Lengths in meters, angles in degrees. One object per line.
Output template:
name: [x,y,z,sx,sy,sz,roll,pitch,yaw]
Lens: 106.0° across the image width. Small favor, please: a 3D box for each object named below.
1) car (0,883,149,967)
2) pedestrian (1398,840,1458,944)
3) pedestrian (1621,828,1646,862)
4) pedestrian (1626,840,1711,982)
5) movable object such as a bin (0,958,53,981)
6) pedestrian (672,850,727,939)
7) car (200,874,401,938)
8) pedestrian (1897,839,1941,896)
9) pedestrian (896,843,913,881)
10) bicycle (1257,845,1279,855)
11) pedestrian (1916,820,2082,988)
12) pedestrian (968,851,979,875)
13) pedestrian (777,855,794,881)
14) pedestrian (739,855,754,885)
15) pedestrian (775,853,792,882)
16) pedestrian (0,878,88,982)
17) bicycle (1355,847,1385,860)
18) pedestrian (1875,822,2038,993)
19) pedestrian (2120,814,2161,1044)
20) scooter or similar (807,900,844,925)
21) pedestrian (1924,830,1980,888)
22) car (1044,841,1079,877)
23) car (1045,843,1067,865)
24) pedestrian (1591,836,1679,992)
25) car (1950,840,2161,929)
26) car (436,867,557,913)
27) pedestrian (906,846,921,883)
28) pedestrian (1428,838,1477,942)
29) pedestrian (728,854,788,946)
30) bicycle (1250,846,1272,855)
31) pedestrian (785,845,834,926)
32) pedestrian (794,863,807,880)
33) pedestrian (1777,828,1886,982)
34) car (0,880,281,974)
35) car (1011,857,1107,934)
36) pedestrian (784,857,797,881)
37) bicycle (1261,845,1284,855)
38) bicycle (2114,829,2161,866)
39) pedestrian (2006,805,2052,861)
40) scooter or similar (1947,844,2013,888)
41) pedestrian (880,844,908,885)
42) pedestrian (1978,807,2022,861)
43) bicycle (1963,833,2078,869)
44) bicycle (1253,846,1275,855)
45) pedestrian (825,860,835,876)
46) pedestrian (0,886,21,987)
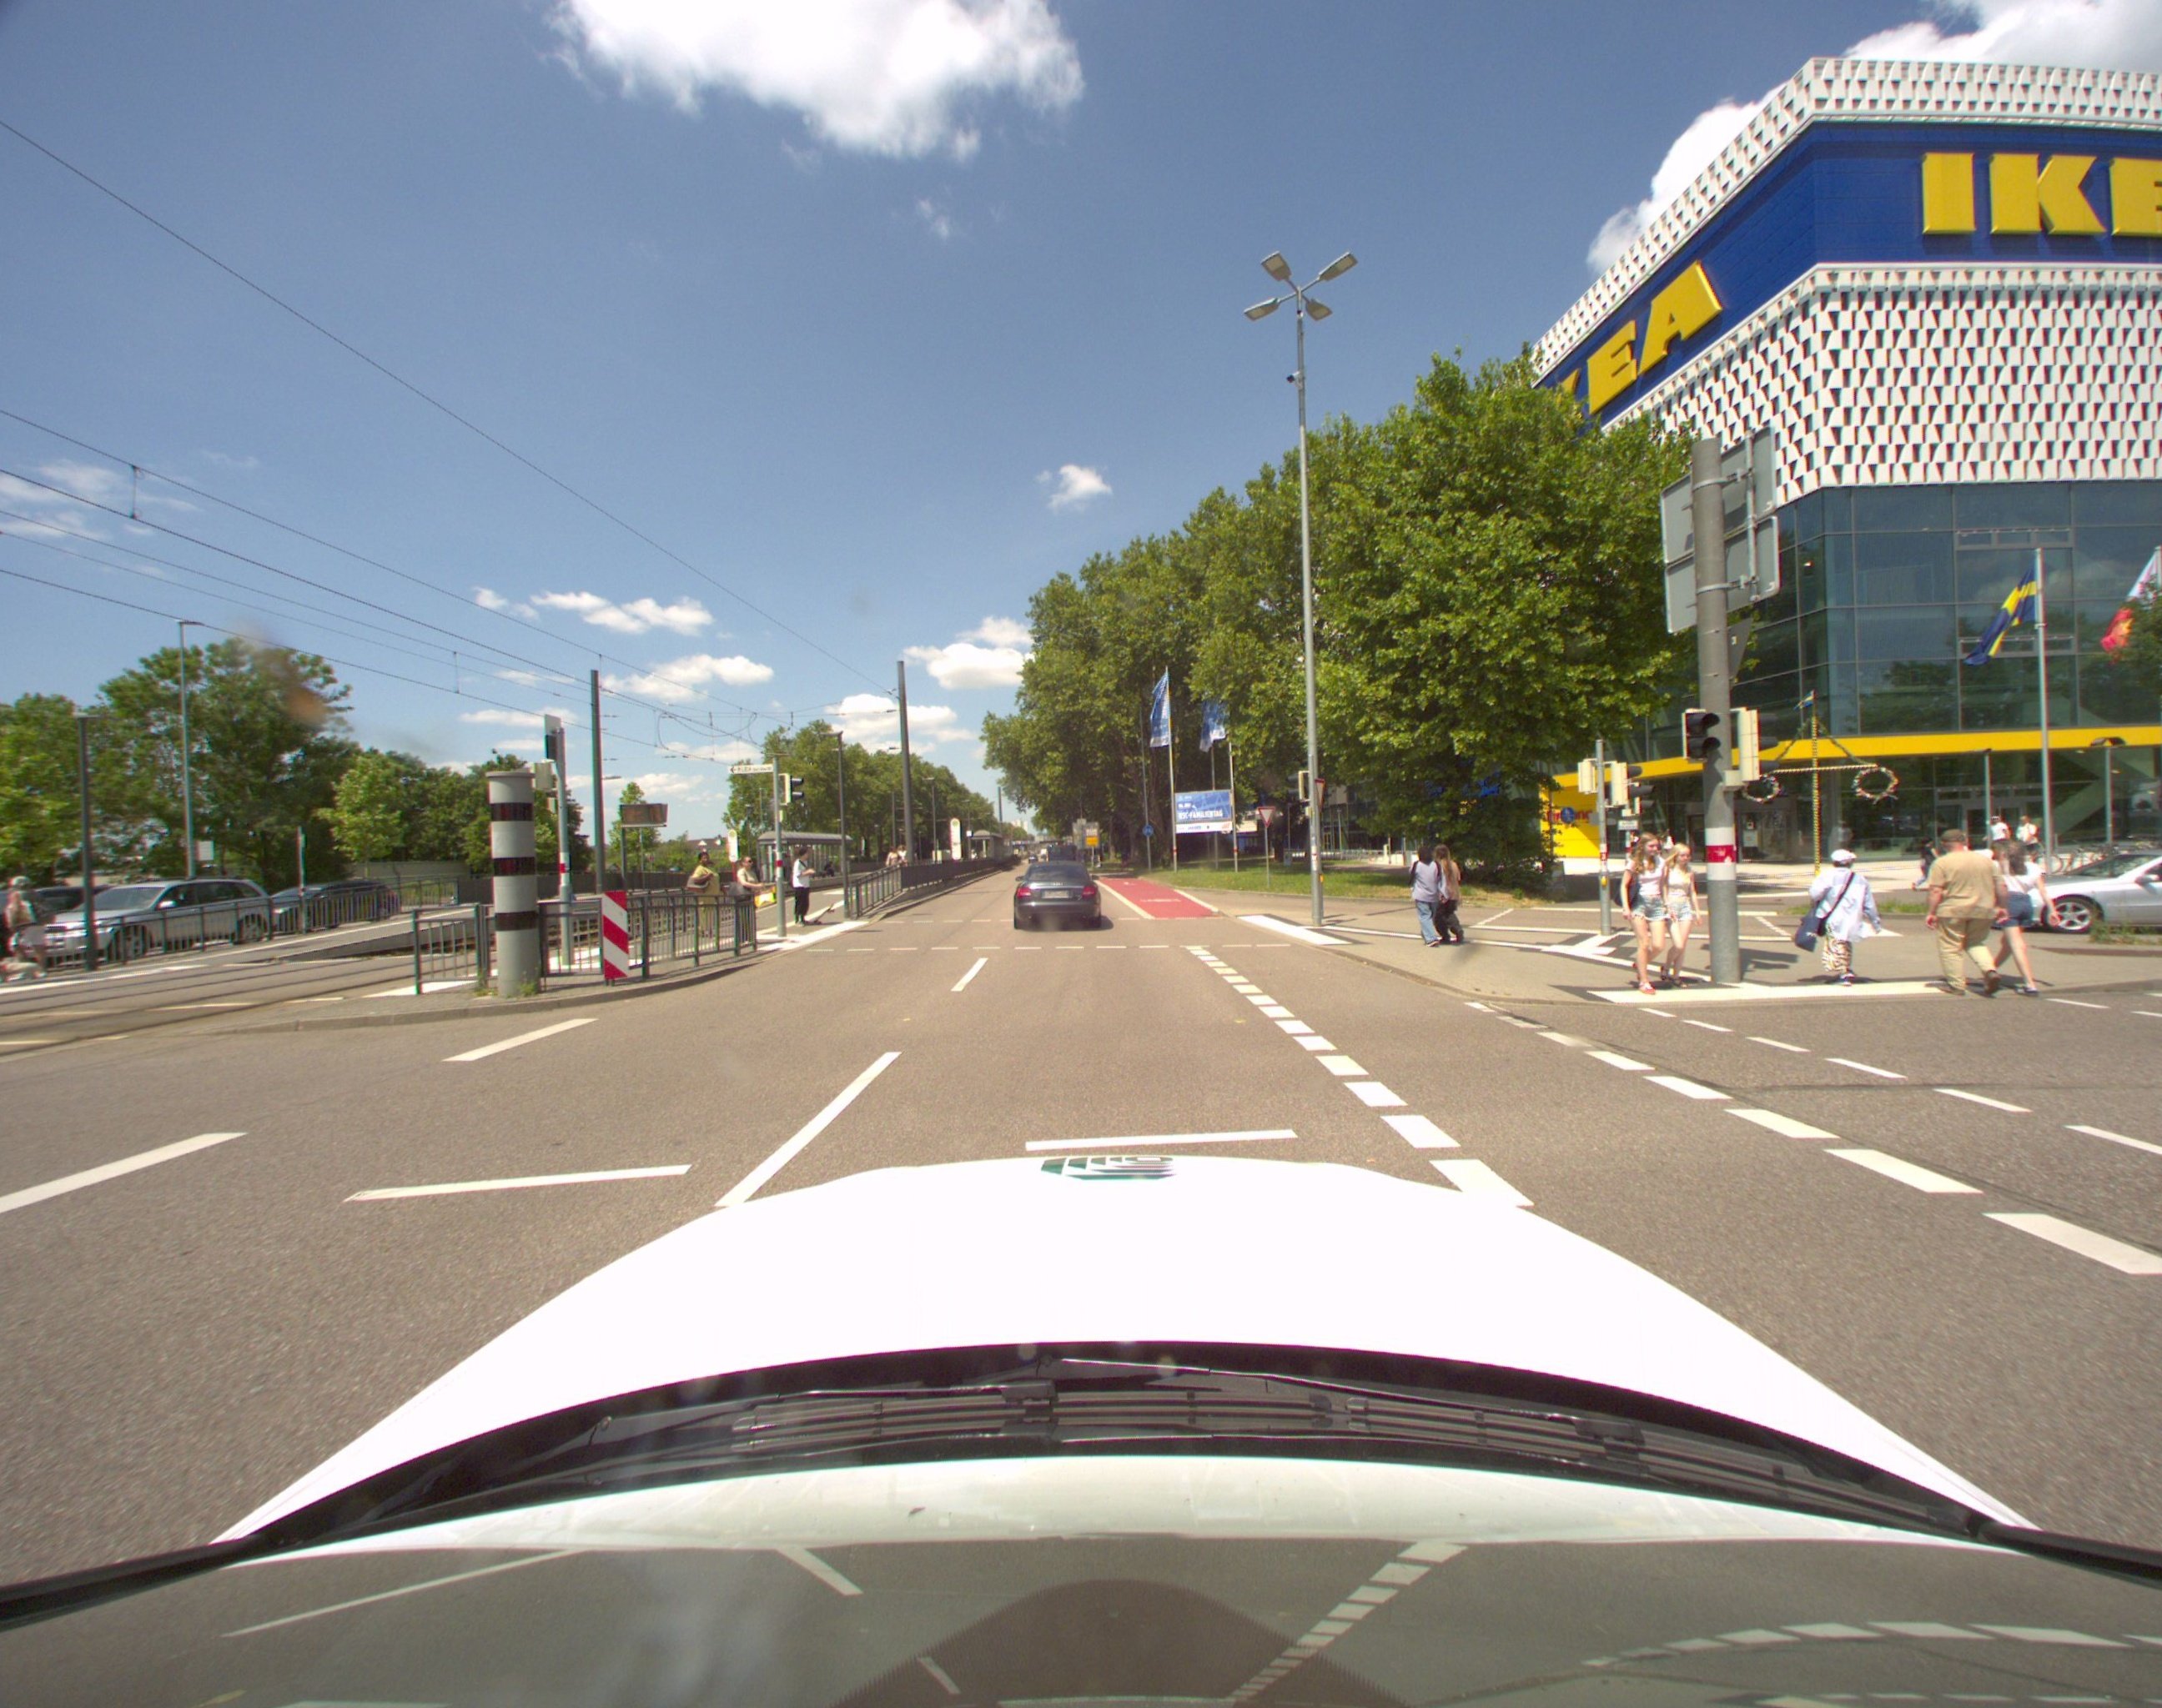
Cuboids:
car: [-23.277,1.536,17.445,1.988,1.629,3.998,-2,0,-1]
pedestrian: [5.545,0.588,13.060,0.759,1.606,0.900,-1,0,16]
pedestrian: [28.309,-0.450,41.752,0.776,1.735,0.743,-2,0,10]
pedestrian: [6.783,0.639,9.430,0.525,1.580,0.612,-1,0,2]
movable object such as a bin: [-17.435,1.902,13.452,0.570,0.321,0.228,-2,0,-6]
pedestrian: [-7.324,0.762,15.672,0.731,1.673,0.677,-1,0,-5]
car: [-23.526,1.498,24.827,1.988,1.629,4.279,-2,0,-1]
pedestrian: [24.038,0.380,23.366,0.609,1.586,0.632,-2,0,-7]
pedestrian: [-8.001,0.374,36.863,0.612,1.681,0.719,-1,0,-4]
bicycle: [23.031,-0.468,100.222,2.543,1.110,0.757,-2,0,-7]
pedestrian: [9.578,0.499,8.540,0.789,1.659,0.855,-1,0,15]
pedestrian: [-7.577,0.637,57.436,0.731,1.665,0.741,-1,0,-3]
pedestrian: [-18.599,0.880,51.281,0.817,1.638,0.582,-2,0,35]
pedestrian: [-18.284,0.861,44.494,0.557,1.638,0.804,-2,0,-9]
pedestrian: [-18.189,0.818,49.823,0.729,1.729,0.582,-2,0,35]
pedestrian: [-17.784,1.270,13.866,0.760,1.672,0.763,-2,0,-5]
bicycle: [22.715,-0.034,64.036,2.057,0.969,0.867,-2,0,-6]
pedestrian: [8.980,0.527,8.404,0.789,1.659,0.855,-1,0,15]
pedestrian: [7.905,0.525,5.528,0.601,1.638,0.867,-1,-2,15]
scooter or similar: [-5.921,1.353,18.916,0.725,0.506,0.456,-2,0,-5]
pedestrian: [24.353,0.129,22.769,0.917,1.586,0.632,-2,0,-7]
car: [-1.041,0.270,46.122,1.842,1.959,4.143,-1,0,0]
car: [-2.271,-0.017,74.747,1.842,1.959,4.143,-1,0,0]
pedestrian: [6.153,0.643,9.075,0.525,1.666,0.640,-1,0,2]
car: [17.989,0.490,13.693,4.271,1.418,1.741,-1,-1,20]
car: [-23.334,1.398,32.726,1.987,1.629,3.998,-1,0,-1]
pedestrian: [-7.324,0.466,35.592,0.496,1.577,0.556,-2,0,-4]
pedestrian: [6.199,0.586,13.617,0.618,1.683,0.729,-1,0,16]
pedestrian: [-5.770,0.802,14.604,0.784,1.572,0.763,-1,0,-5]
bicycle: [22.675,-0.445,102.722,2.543,0.970,0.757,-2,0,-7]
pedestrian: [-6.219,0.697,18.712,0.861,1.802,0.882,-1,0,-6]
pedestrian: [-18.551,1.174,53.902,0.575,1.094,0.638,-2,0,-2]
pedestrian: [8.541,0.549,9.312,0.787,1.659,0.857,-1,0,35]
car: [-20.465,1.496,17.792,1.988,1.629,3.999,-1,0,-1]
car: [-0.593,0.821,18.090,1.840,1.484,3.992,-1,0,-5]
pedestrian: [-18.573,0.940,52.020,0.575,1.533,0.638,-2,0,-2]
bicycle: [23.321,-0.480,99.159,2.543,1.110,0.757,-2,0,-7]
bicycle: [36.456,-0.226,27.123,0.801,1.199,2.420,-2,0,-15]
pedestrian: [34.781,-0.750,29.885,0.793,2.013,0.734,-2,0,6]
scooter or similar: [25.040,0.324,22.694,1.071,1.198,0.727,-1,0,-4]
pedestrian: [-7.641,0.422,33.308,0.888,1.605,0.923,-2,0,-3]
pedestrian: [34.975,-0.743,31.010,0.792,2.013,0.735,-2,0,10]
bicycle: [31.425,-0.087,27.309,0.801,1.145,2.420,-2,0,-15]
bicycle: [22.778,-0.456,101.457,2.543,1.110,0.757,-2,0,-7]
pedestrian: [-18.944,1.063,61.469,0.575,1.190,0.638,-2,0,-2]
pedestrian: [-17.122,1.297,12.455,0.760,1.548,0.763,-2,0,-5]
